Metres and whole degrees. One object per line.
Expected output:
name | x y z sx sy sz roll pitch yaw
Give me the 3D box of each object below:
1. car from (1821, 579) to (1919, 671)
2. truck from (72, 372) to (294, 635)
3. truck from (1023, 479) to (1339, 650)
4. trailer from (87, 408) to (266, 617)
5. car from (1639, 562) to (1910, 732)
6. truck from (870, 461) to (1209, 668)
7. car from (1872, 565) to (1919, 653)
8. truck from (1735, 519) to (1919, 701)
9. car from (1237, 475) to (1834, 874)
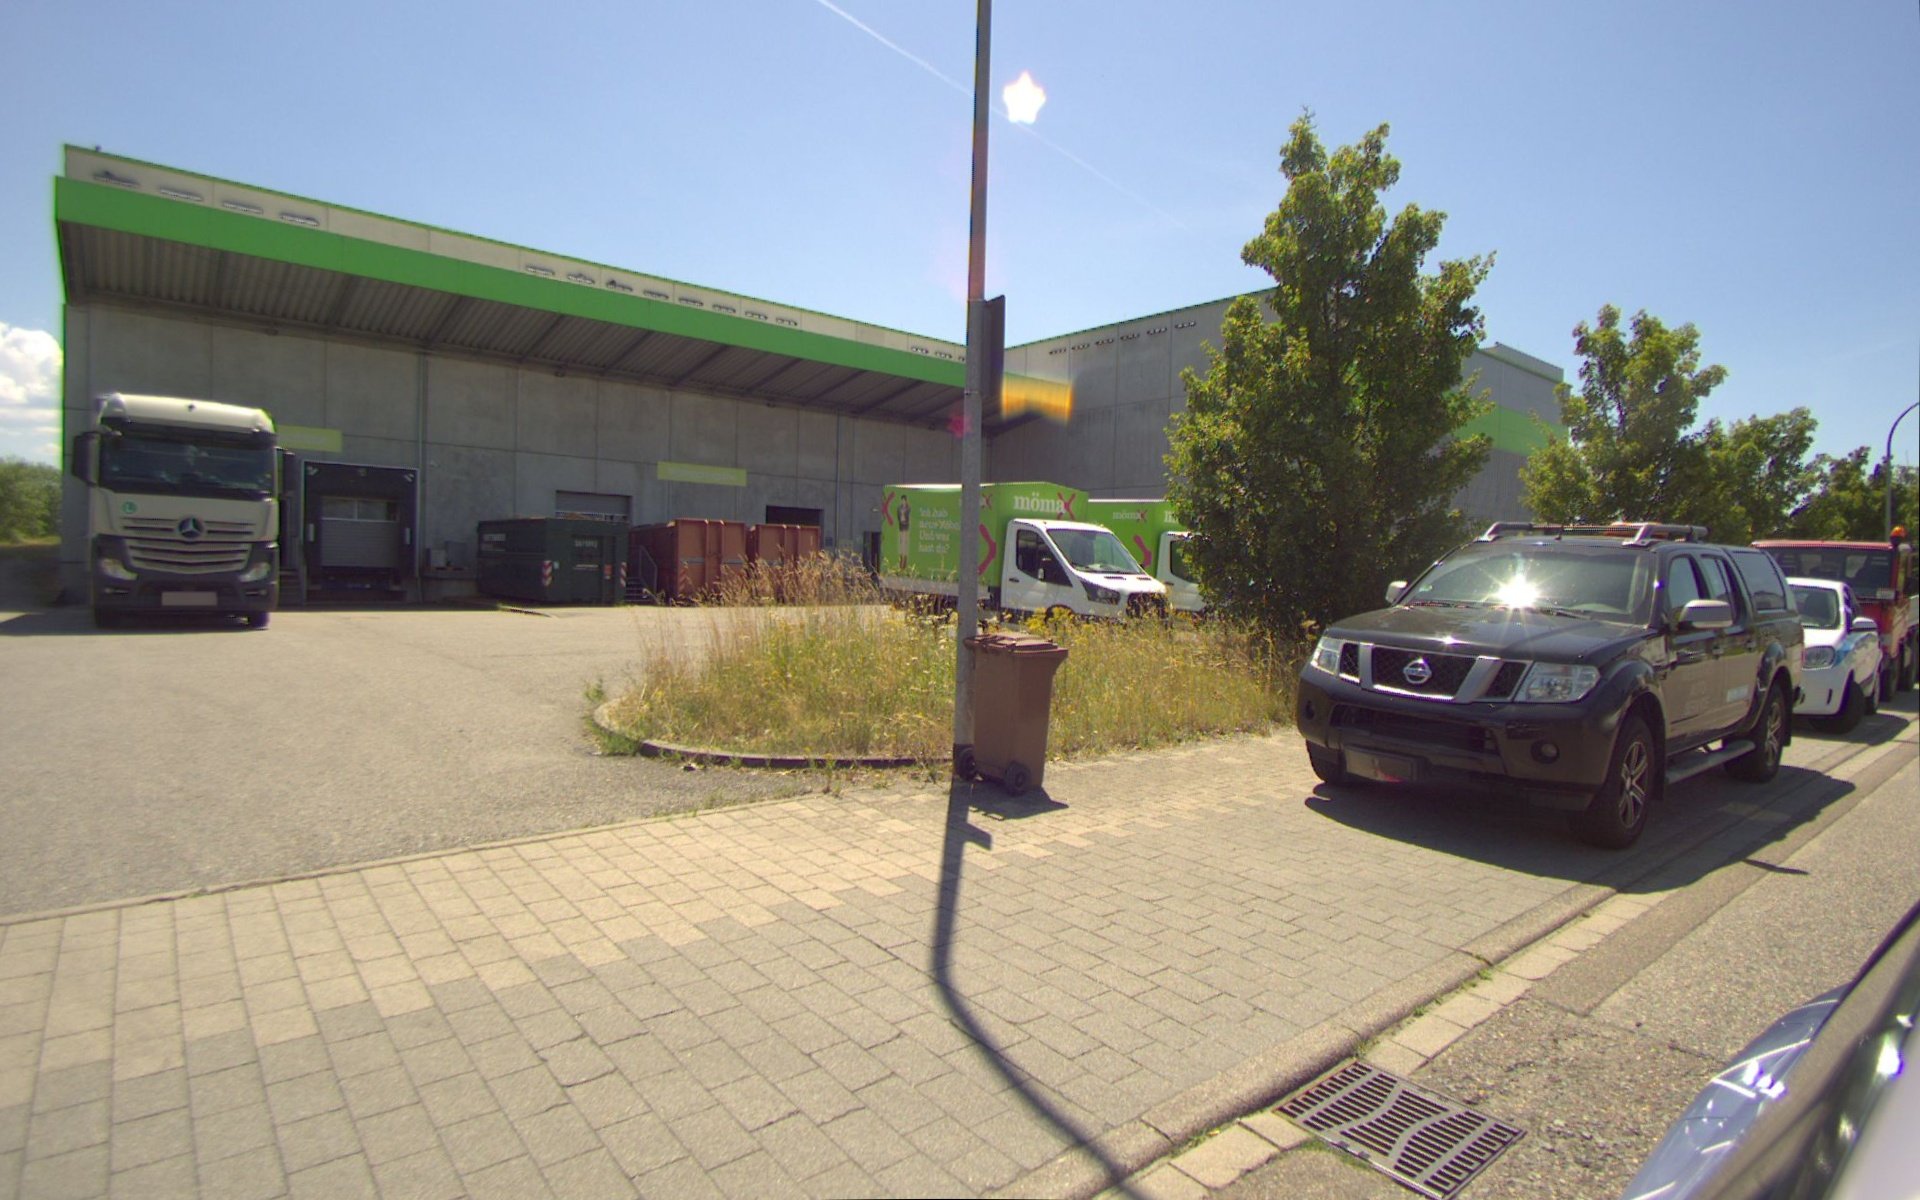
car | 16.957 0.396 17.975 4.751 1.400 1.702 0 4 -40
truck | -13.783 -1.566 17.985 2.754 3.922 5.075 -1 3 -39
truck | 4.189 -0.748 20.211 2.267 2.907 5.912 0 3 -42
trailer | -19.340 -1.912 24.866 2.754 3.922 12.650 -1 3 -39
car | 9.442 0.412 11.624 3.931 1.549 1.742 -1 4 -42
truck | 1.117 -0.649 17.410 2.372 2.948 5.834 0 3 -40
car | 21.132 0.219 21.536 4.688 1.746 1.816 0 3 -40
truck | 12.723 0.062 14.435 4.313 2.207 1.683 0 4 -41
car | 4.352 0.285 7.221 5.064 1.907 1.998 0 3 -40
